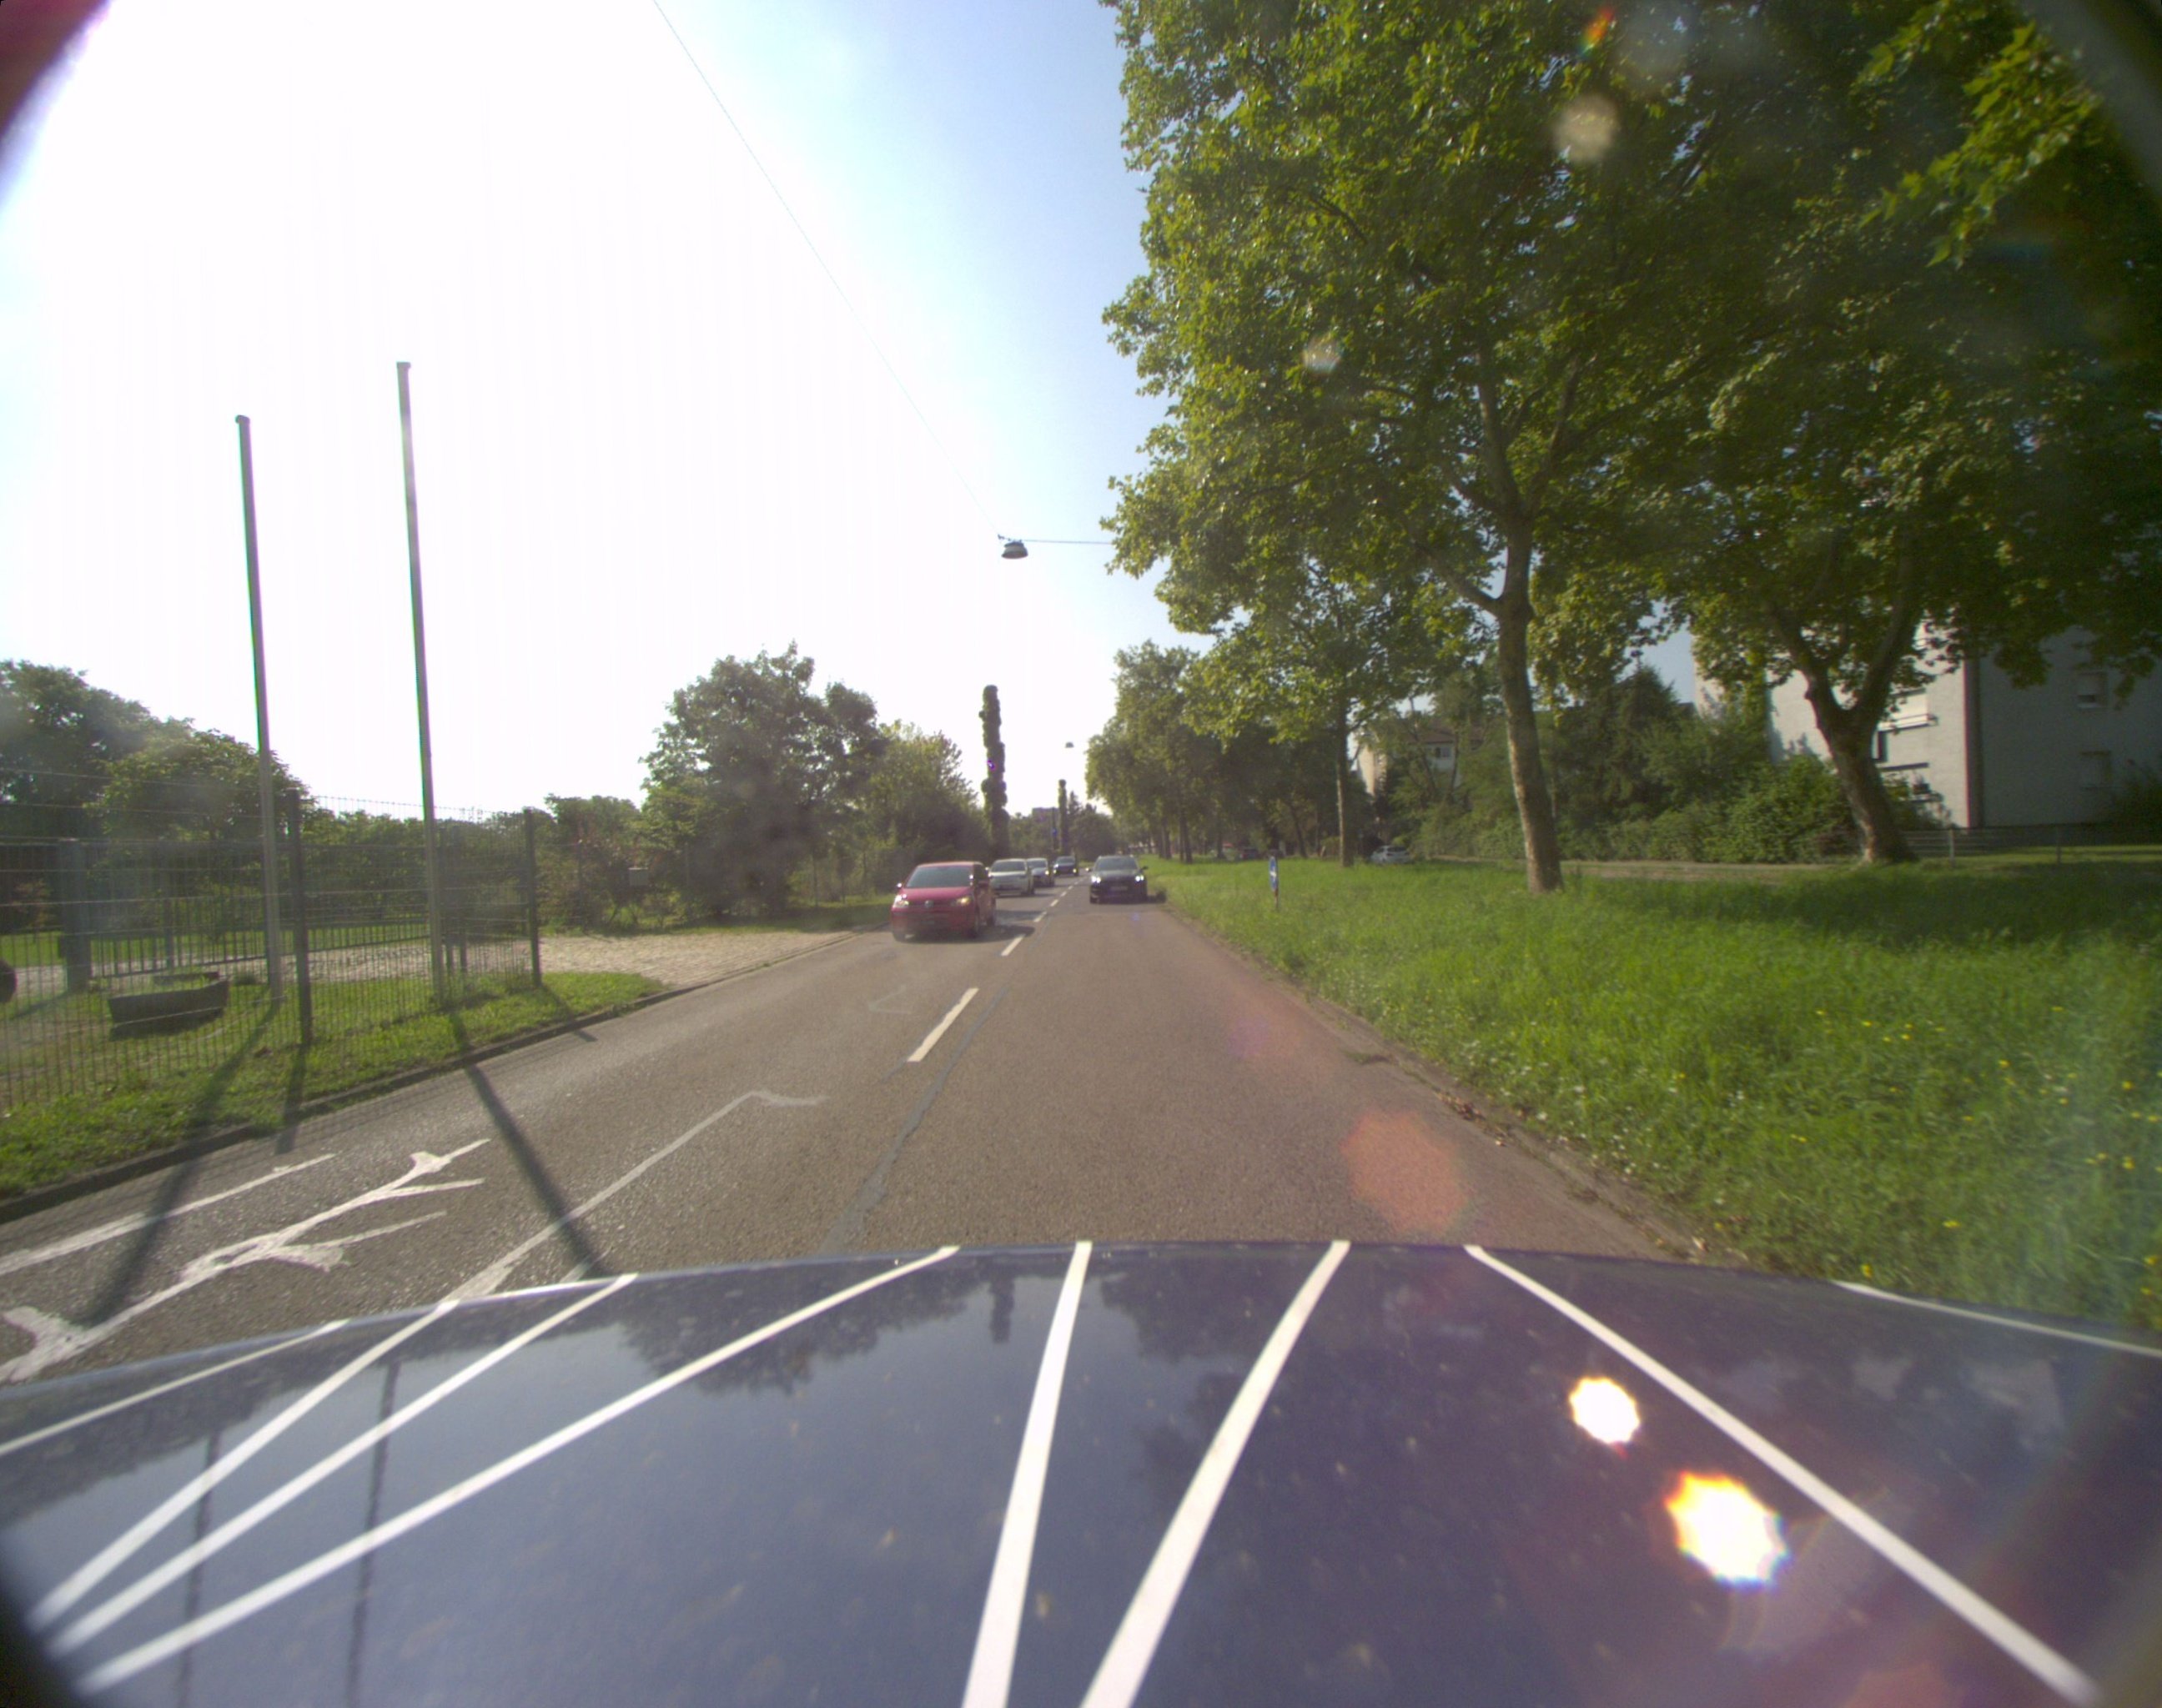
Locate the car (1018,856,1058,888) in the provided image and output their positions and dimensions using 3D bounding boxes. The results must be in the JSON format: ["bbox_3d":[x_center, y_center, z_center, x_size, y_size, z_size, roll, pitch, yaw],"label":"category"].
[{"bbox_3d":[-2.209,0.882,39.608,1.649,1.467,3.899,-3,1,2],"label":"car"}]

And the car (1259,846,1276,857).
[{"bbox_3d":[24.863,-0.349,101.517,1.613,1.284,3.523,-3,1,5],"label":"car"}]

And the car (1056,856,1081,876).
[{"bbox_3d":[-0.935,0.932,59.191,1.649,1.378,3.899,-3,1,2],"label":"car"}]

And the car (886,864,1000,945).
[{"bbox_3d":[-2.747,0.962,15.841,1.579,1.390,3.472,-1,1,2],"label":"car"}]

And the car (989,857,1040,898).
[{"bbox_3d":[-2.707,0.919,31.593,1.649,1.467,3.898,-3,1,1],"label":"car"}]

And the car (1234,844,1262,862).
[{"bbox_3d":[16.032,-0.104,73.082,1.779,1.607,4.857,-3,1,2],"label":"car"}]

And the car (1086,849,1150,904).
[{"bbox_3d":[1.198,0.671,24.842,1.862,1.572,3.612,-3,1,2],"label":"car"}]

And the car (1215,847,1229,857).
[{"bbox_3d":[22.380,-0.394,120.857,1.649,1.471,3.899,-3,1,2],"label":"car"}]

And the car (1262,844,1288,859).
[{"bbox_3d":[19.872,-0.225,77.927,1.649,1.356,3.899,-3,0,0],"label":"car"}]

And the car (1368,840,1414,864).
[{"bbox_3d":[21.398,-0.156,52.614,1.649,1.471,3.899,-3,1,2],"label":"car"}]
